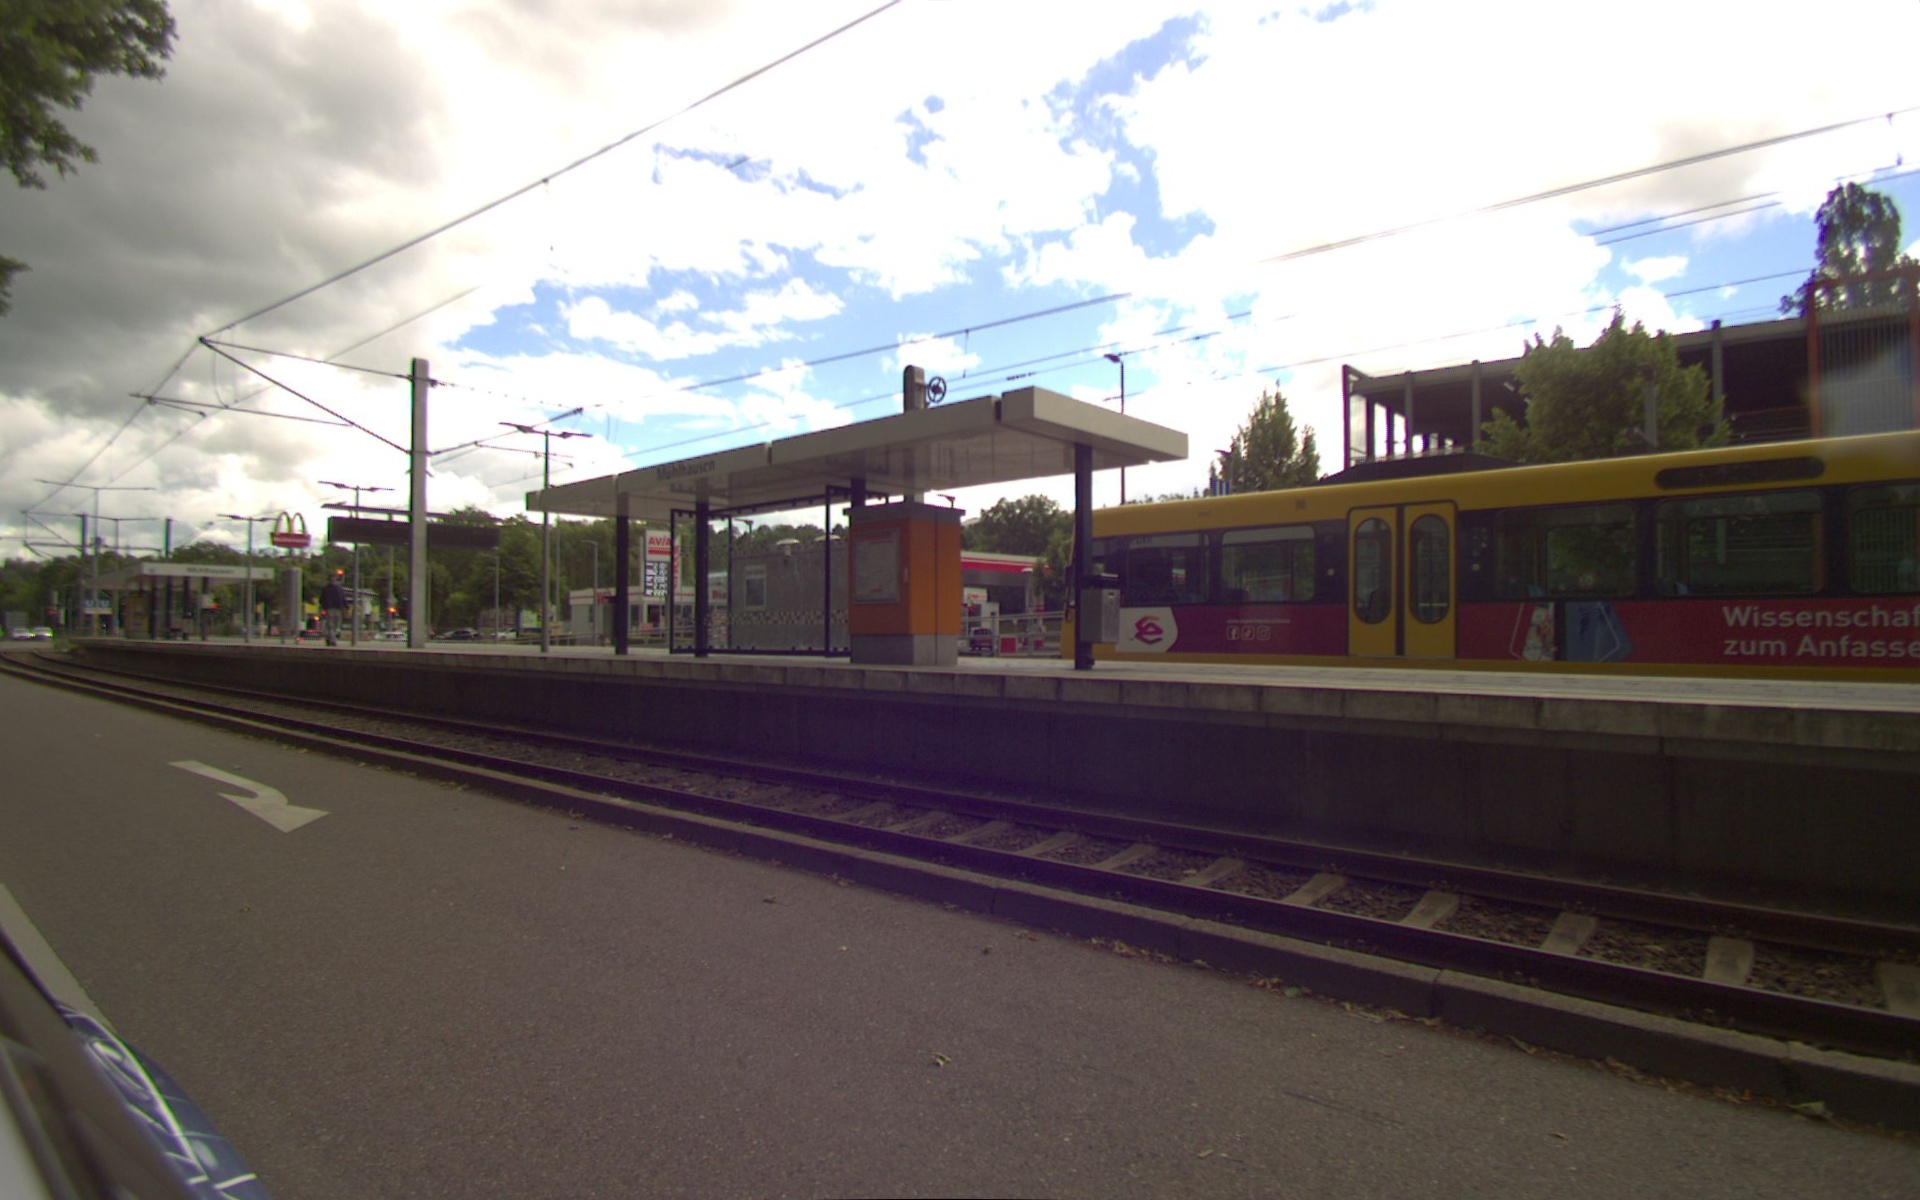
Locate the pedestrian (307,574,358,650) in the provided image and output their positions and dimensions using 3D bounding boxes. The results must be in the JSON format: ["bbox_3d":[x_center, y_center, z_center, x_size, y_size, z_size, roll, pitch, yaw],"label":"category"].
[{"bbox_3d":[-15.036,0.305,24.241,0.936,1.757,0.741,-2,-4,41],"label":"pedestrian"}]

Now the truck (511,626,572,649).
[{"bbox_3d":[-46.176,4.112,111.830,2.386,2.513,5.743,-2,-3,43],"label":"truck"}]

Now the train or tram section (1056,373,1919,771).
[{"bbox_3d":[9.357,-0.216,11.904,18.631,3.912,2.726,-2,-3,43],"label":"train or tram section"}]

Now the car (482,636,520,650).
[{"bbox_3d":[-54.117,5.023,119.365,1.728,1.566,3.588,-2,-4,44],"label":"car"}]

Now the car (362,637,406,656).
[{"bbox_3d":[-41.736,3.359,73.290,4.030,1.360,1.595,-2,-3,42],"label":"car"}]

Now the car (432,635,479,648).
[{"bbox_3d":[-55.833,4.565,112.102,1.788,1.443,4.375,-1,-2,29],"label":"car"}]

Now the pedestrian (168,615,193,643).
[{"bbox_3d":[-34.032,1.286,44.172,0.760,1.198,0.728,2,-3,-45],"label":"pedestrian"}]

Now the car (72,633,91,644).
[{"bbox_3d":[-164.172,7.242,189.094,3.998,2.029,1.972,-2,-4,41],"label":"car"}]

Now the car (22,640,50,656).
[{"bbox_3d":[-97.699,5.070,107.041,1.937,1.564,4.007,3,-4,-39],"label":"car"}]
